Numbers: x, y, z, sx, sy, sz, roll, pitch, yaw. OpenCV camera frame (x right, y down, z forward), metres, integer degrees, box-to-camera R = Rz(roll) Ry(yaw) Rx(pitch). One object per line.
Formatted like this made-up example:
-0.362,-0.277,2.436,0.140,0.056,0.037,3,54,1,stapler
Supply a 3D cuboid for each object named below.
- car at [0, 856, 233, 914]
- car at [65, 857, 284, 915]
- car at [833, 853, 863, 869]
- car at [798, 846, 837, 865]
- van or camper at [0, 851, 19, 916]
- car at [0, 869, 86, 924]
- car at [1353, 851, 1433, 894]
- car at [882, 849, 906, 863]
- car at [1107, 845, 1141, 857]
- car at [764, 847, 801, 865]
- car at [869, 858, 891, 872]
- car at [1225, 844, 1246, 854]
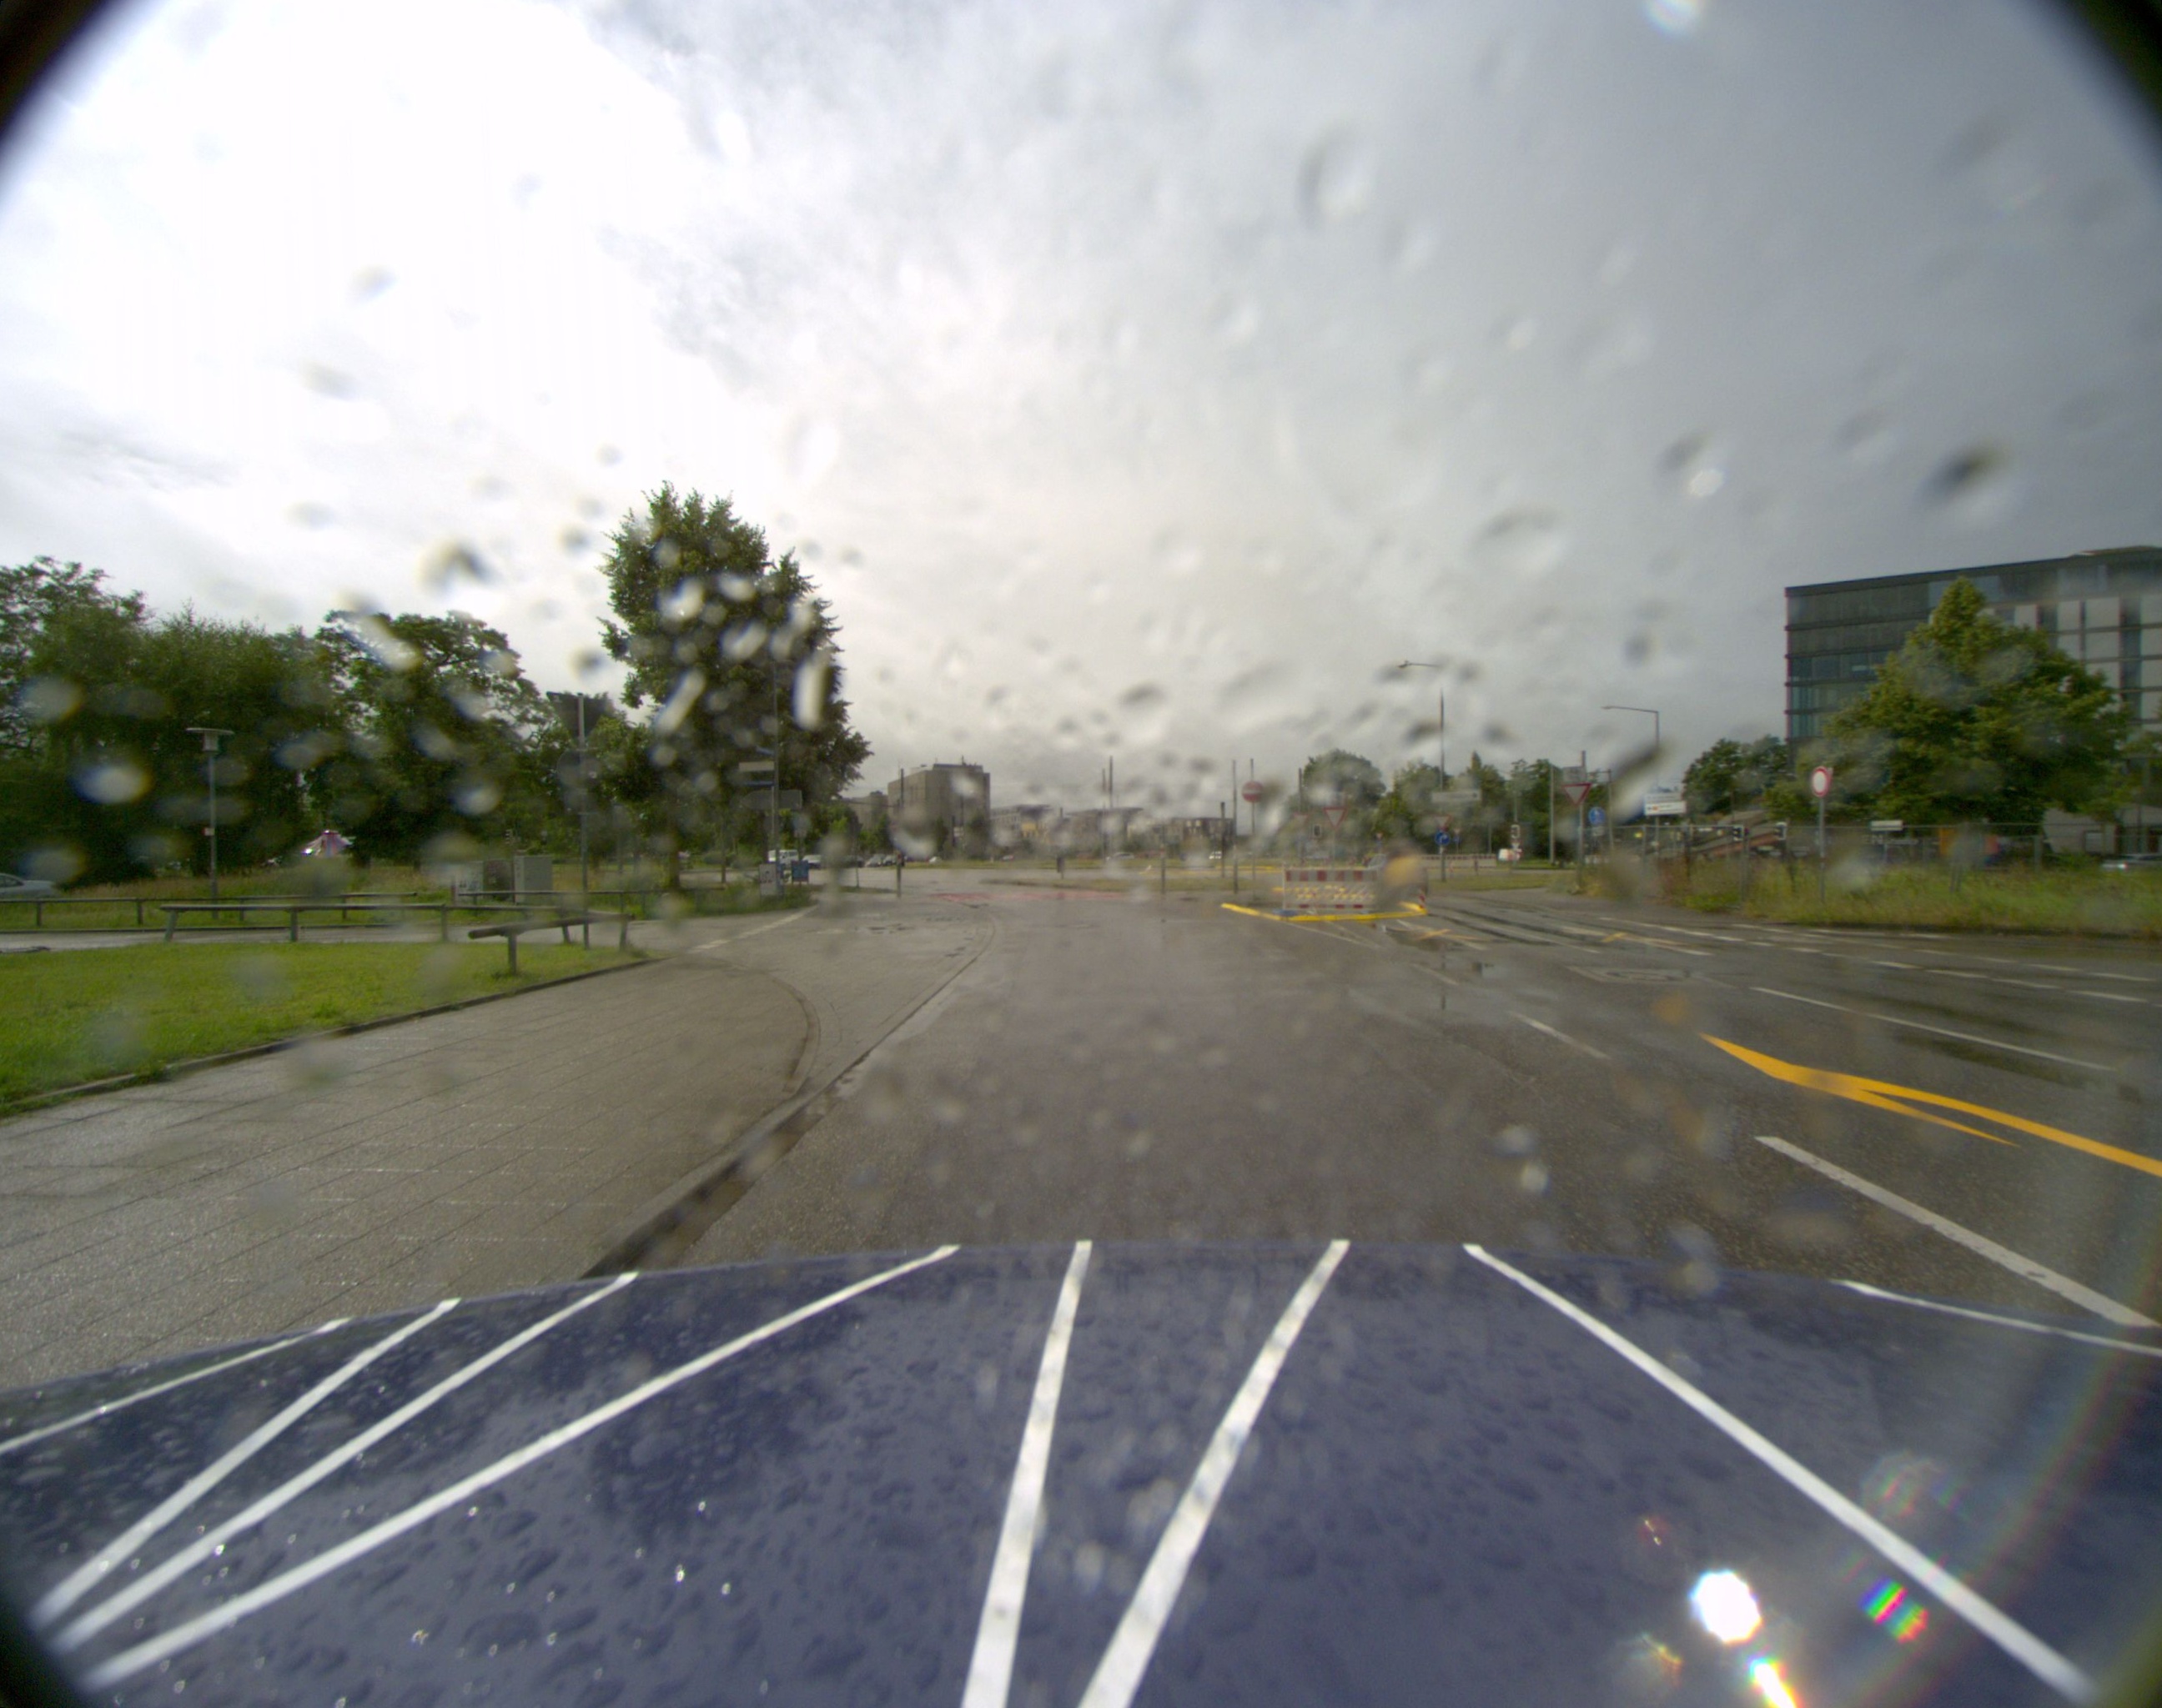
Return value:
-28.675,0.855,22.819,1.934,1.539,4.000,0,0,0,car
-26.483,0.872,22.425,1.934,1.539,3.771,0,0,0,car
-24.669,0.693,80.525,1.769,1.587,4.000,-1,1,1,car
-23.848,0.144,68.853,1.667,1.678,4.208,-1,0,6,car
-35.850,0.956,22.045,1.998,2.092,5.679,-1,0,2,van or camper
-32.062,1.249,21.731,1.934,1.539,4.000,0,0,0,car
11.326,0.610,27.870,1.741,1.406,4.181,-1,1,8,car
-22.995,0.214,93.489,1.867,1.739,4.000,0,0,1,car
5.688,-0.361,101.076,4.122,1.521,1.666,-1,0,-20,car
-29.325,0.221,74.800,1.891,1.703,4.229,0,0,1,car
-26.547,1.475,100.443,1.867,1.739,4.000,0,0,1,car
23.855,-0.784,117.474,1.664,1.521,3.488,-1,0,40,car
